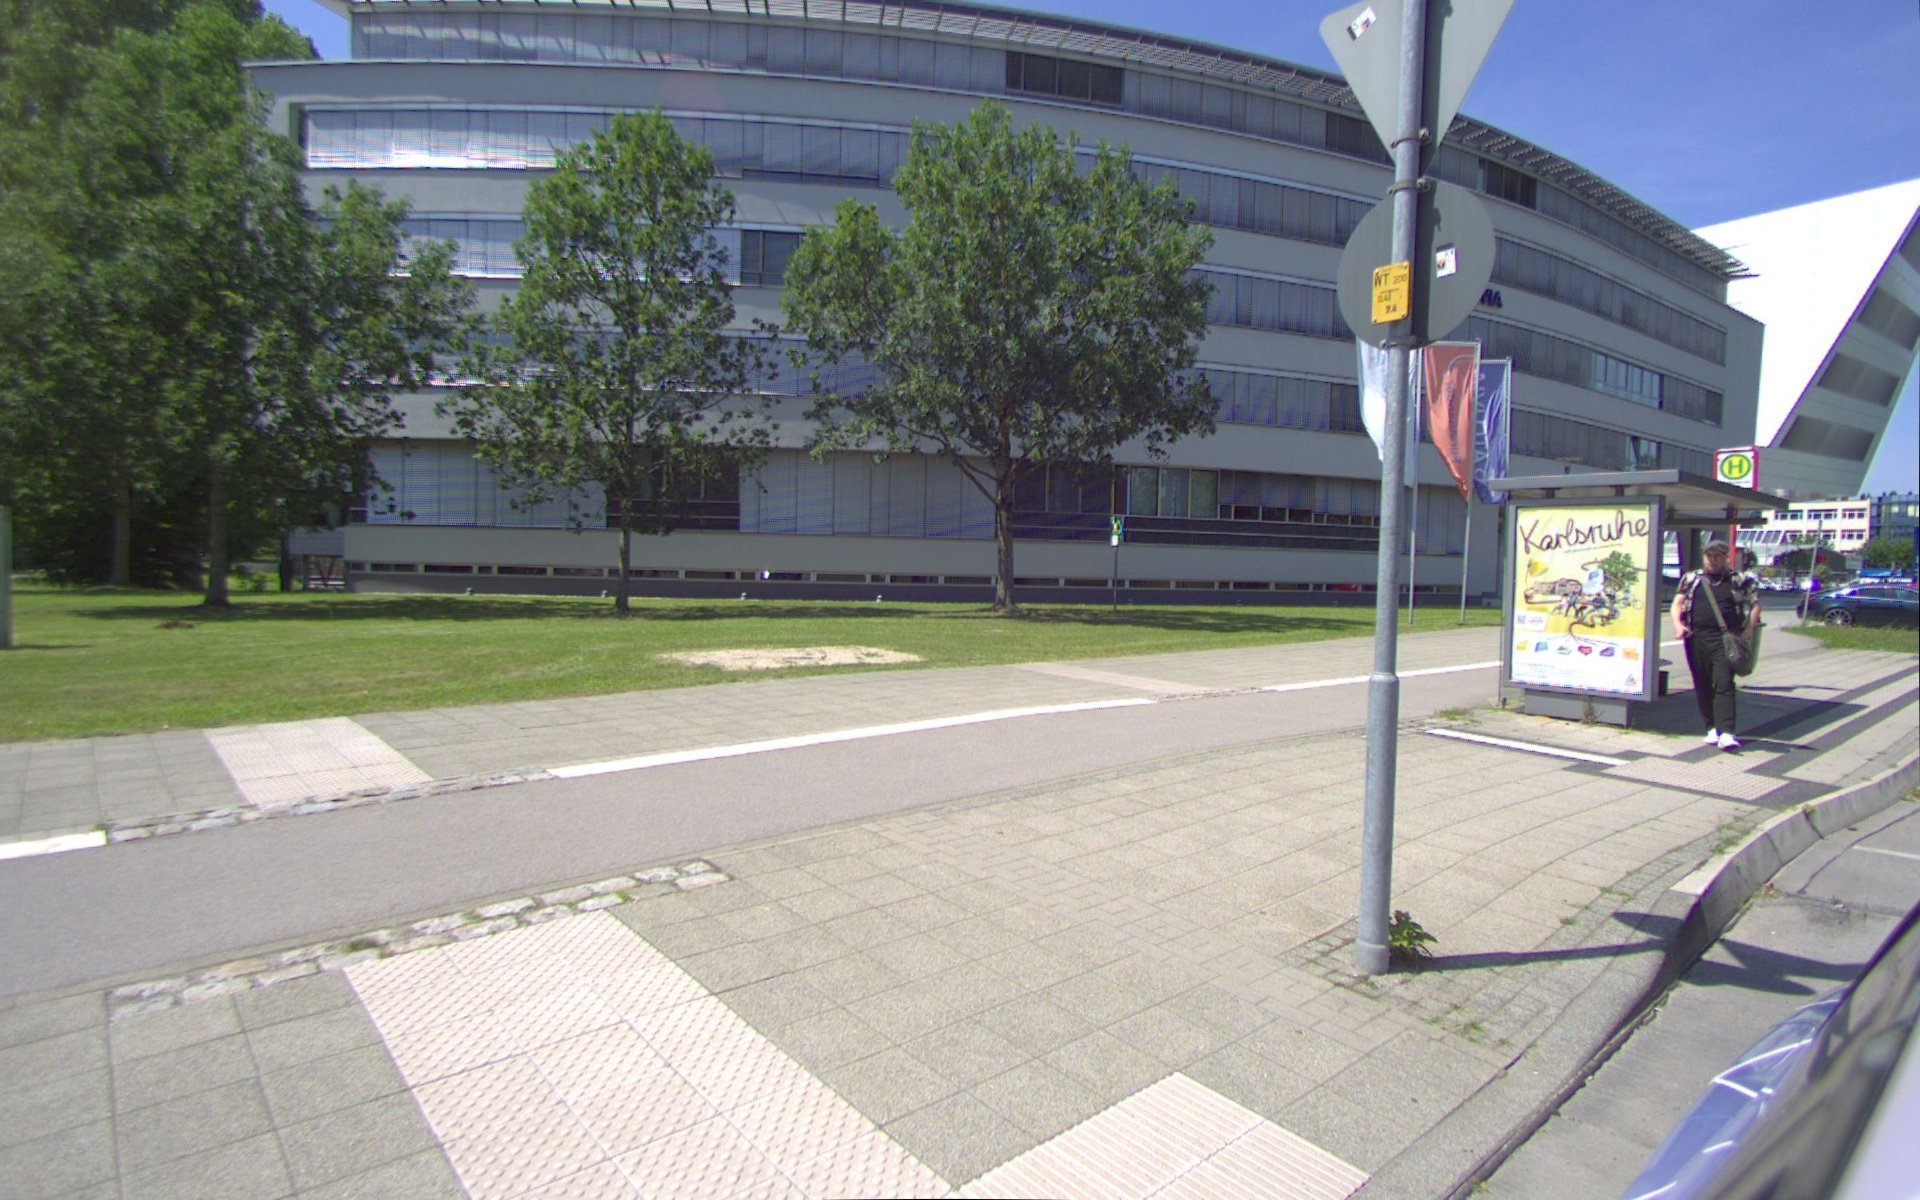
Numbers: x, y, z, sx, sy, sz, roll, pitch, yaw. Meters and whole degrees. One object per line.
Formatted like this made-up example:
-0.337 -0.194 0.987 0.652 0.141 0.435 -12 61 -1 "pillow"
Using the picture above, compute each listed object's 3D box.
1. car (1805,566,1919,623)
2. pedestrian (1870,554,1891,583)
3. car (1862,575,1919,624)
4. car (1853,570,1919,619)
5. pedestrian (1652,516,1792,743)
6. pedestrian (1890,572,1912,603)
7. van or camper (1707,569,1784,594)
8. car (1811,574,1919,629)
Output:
29.435 -0.182 31.900 1.806 1.675 3.997 -1 3 -39 "car"
53.751 -1.826 59.078 0.762 1.680 0.843 -1 1 -42 "pedestrian"
31.713 0.029 32.528 1.626 1.504 3.818 -1 4 -39 "car"
33.322 -0.130 34.304 1.755 1.582 4.332 -1 4 -40 "car"
6.609 0.216 8.782 0.812 1.844 0.709 -1 4 -41 "pedestrian"
54.356 -0.728 58.477 0.762 1.722 0.843 -1 1 -42 "pedestrian"
76.912 -1.848 99.135 1.671 2.420 5.707 0 2 -35 "van or camper"
27.985 0.095 29.535 1.796 1.449 4.576 -1 5 -42 "car"
